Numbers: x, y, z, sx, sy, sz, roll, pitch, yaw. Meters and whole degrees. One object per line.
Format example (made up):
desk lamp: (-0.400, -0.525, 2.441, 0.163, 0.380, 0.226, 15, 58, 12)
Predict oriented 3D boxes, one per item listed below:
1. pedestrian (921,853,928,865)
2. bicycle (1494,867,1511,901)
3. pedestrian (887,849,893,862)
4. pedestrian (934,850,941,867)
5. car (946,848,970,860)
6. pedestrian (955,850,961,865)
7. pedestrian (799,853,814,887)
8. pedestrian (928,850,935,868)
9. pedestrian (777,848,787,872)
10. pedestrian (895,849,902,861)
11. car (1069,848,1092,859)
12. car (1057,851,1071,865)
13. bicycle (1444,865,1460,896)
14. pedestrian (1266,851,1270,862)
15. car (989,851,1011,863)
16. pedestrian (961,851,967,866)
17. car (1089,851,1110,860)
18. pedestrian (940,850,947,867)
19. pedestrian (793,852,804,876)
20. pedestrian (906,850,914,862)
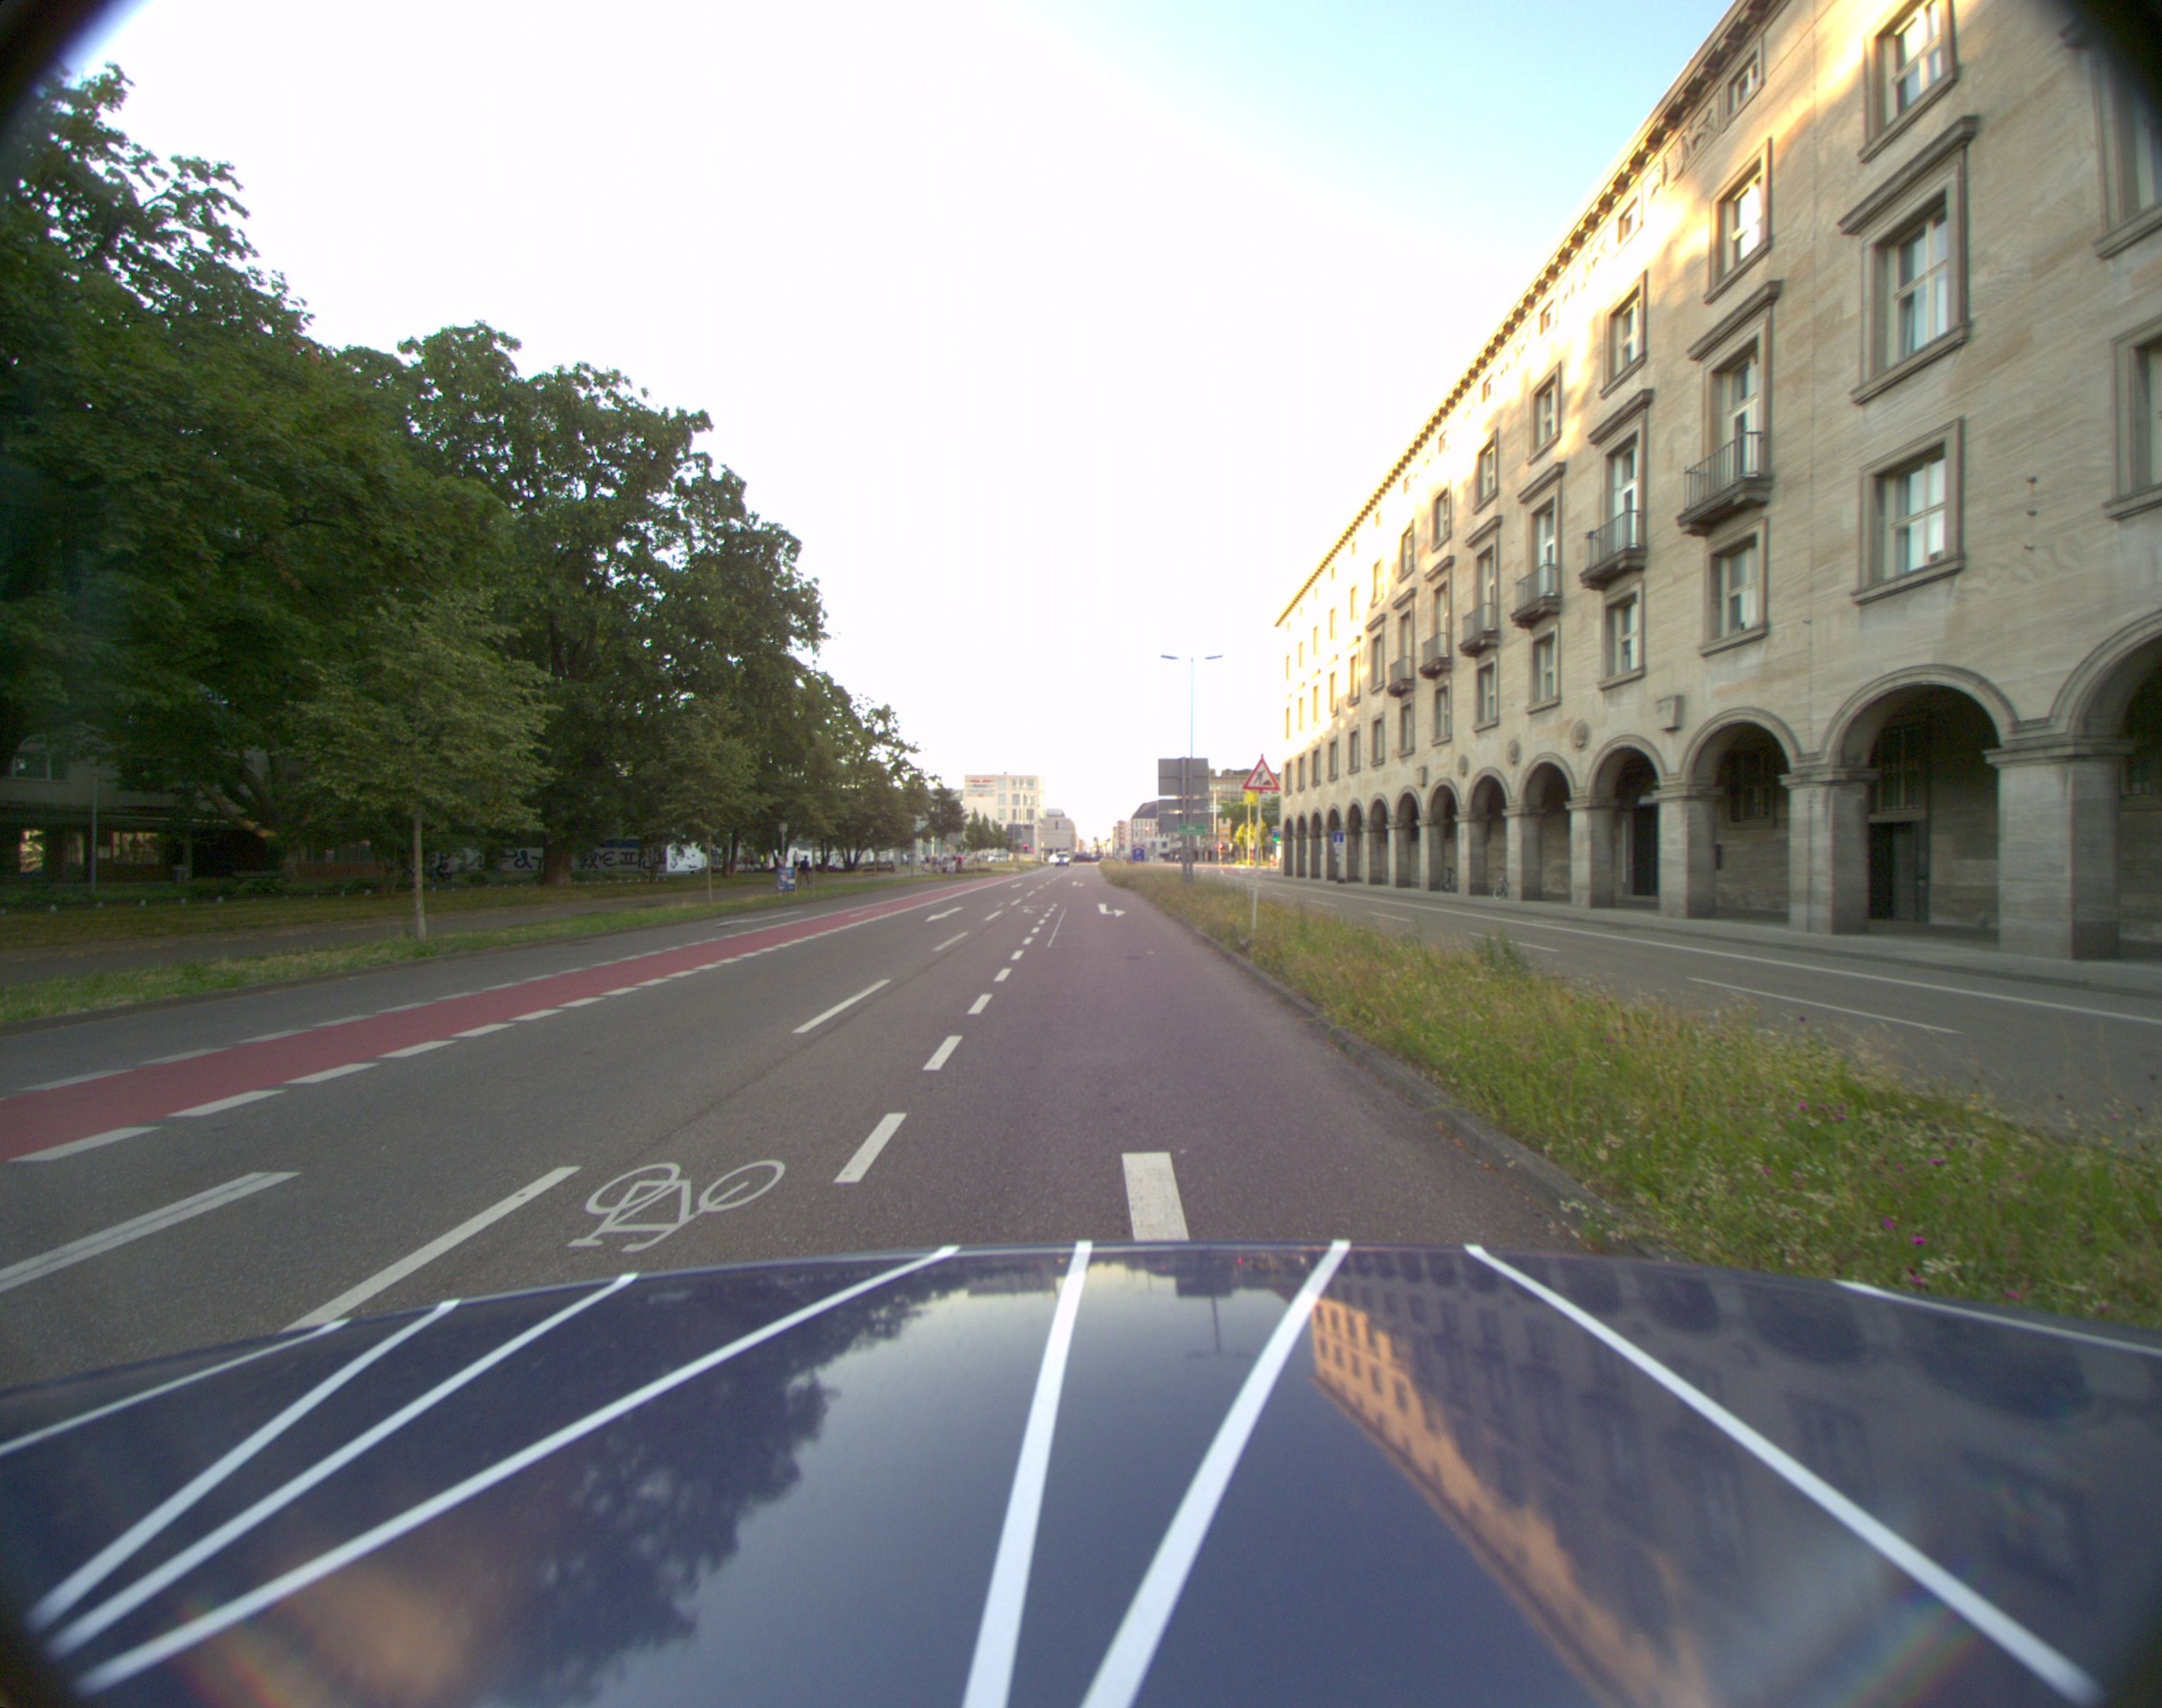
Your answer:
pedestrian: (-18.189, 0.593, 88.389, 0.662, 1.347, 0.559, 0, 1, 1)
bicycle: (15.328, 1.061, 27.608, 0.513, 1.115, 2.427, 0, 1, 30)
pedestrian: (-21.109, 0.158, 84.026, 0.519, 1.347, 0.773, 0, 1, 1)
pedestrian: (-14.554, 0.454, 76.992, 0.519, 1.720, 0.719, 0, 1, 1)
car: (-21.081, 0.015, 130.612, 3.999, 2.002, 1.999, 0, 0, -5)
pedestrian: (-14.341, 0.450, 88.559, 0.638, 1.747, 0.506, 0, 1, 1)
pedestrian: (-13.994, 0.792, 38.784, 0.558, 1.729, 0.555, 0, 1, 1)
pedestrian: (-14.401, 0.469, 73.235, 0.509, 1.720, 0.719, 0, 1, 1)
pedestrian: (-20.291, 0.410, 51.595, 0.500, 1.592, 0.365, 0, 1, 1)
pedestrian: (-20.195, 0.109, 84.076, 0.519, 1.347, 0.773, 0, 1, 1)
car: (-0.064, -0.025, 137.430, 3.999, 2.002, 1.999, 0, 0, -7)
car: (-2.288, 0.507, 103.596, 1.767, 1.877, 4.500, 0, 0, 1)
bicycle: (15.072, 1.033, 30.871, 0.513, 1.172, 2.427, 0, 0, 25)
pedestrian: (27.009, 0.384, 109.929, 0.526, 1.532, 0.390, 0, 1, 1)
car: (-14.493, 0.553, 136.019, 3.999, 2.002, 1.999, 0, 0, -7)
pedestrian: (-13.524, 0.482, 87.913, 0.638, 1.747, 0.506, 0, 1, 1)
car: (4.091, 0.279, 167.363, 4.437, 2.002, 2.000, 0, 0, 3)
pedestrian: (-13.897, 0.494, 76.921, 0.509, 1.720, 0.719, 0, 1, 1)
pedestrian: (-18.692, 0.651, 50.248, 0.500, 1.592, 0.522, 0, 1, 1)
pedestrian: (-19.799, 0.208, 87.867, 0.728, 1.347, 0.614, 0, 1, 1)
